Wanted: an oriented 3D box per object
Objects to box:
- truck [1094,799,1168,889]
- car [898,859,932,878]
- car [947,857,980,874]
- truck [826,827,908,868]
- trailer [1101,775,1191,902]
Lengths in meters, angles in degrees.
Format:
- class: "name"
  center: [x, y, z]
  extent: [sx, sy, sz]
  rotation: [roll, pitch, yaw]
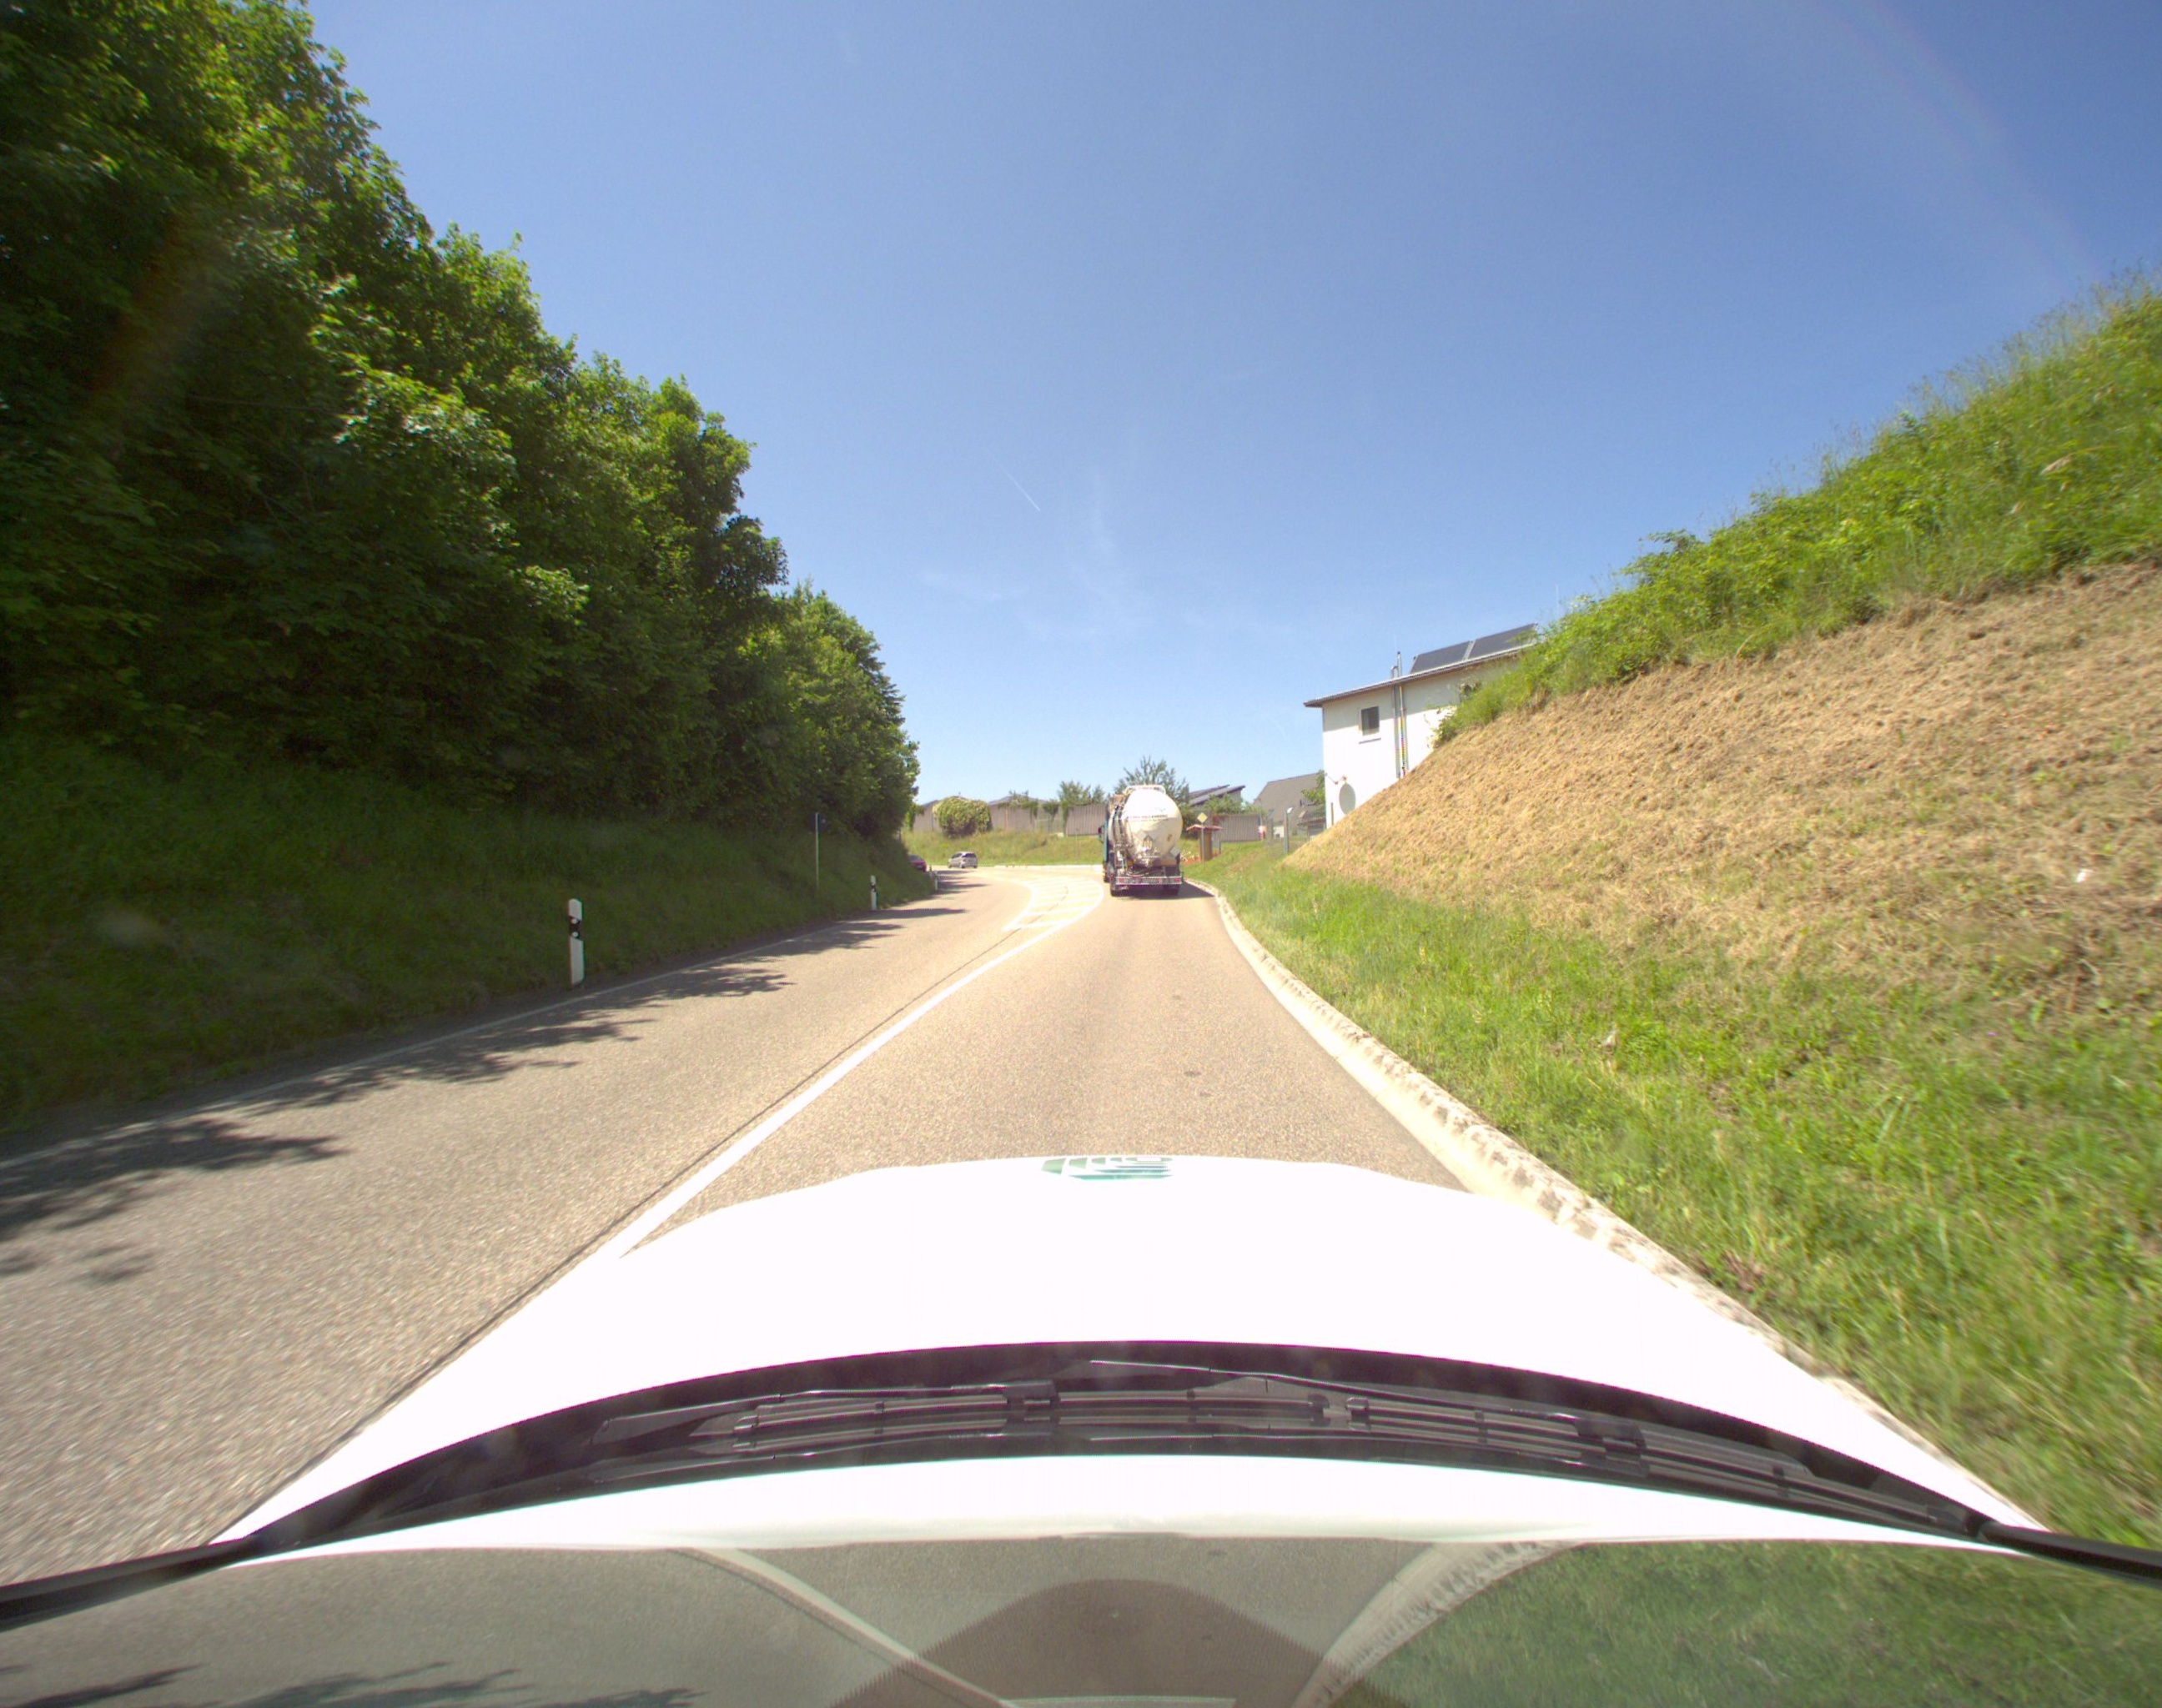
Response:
- class: "truck"
  center: [2.280, -0.461, 39.434]
  extent: [2.721, 3.929, 7.255]
  rotation: [-1, 0, -3]
- class: "car"
  center: [-14.077, 1.212, 69.033]
  extent: [1.759, 1.448, 3.965]
  rotation: [-2, 0, -27]
- class: "car"
  center: [-11.022, 1.045, 76.398]
  extent: [1.659, 1.509, 3.600]
  rotation: [3, -2, -34]
- class: "truck"
  center: [-24.761, -0.800, 93.542]
  extent: [11.652, 4.310, 3.219]
  rotation: [2, -1, 43]
- class: "trailer"
  center: [2.308, -0.576, 33.095]
  extent: [2.652, 4.188, 11.903]
  rotation: [-1, 0, 0]
